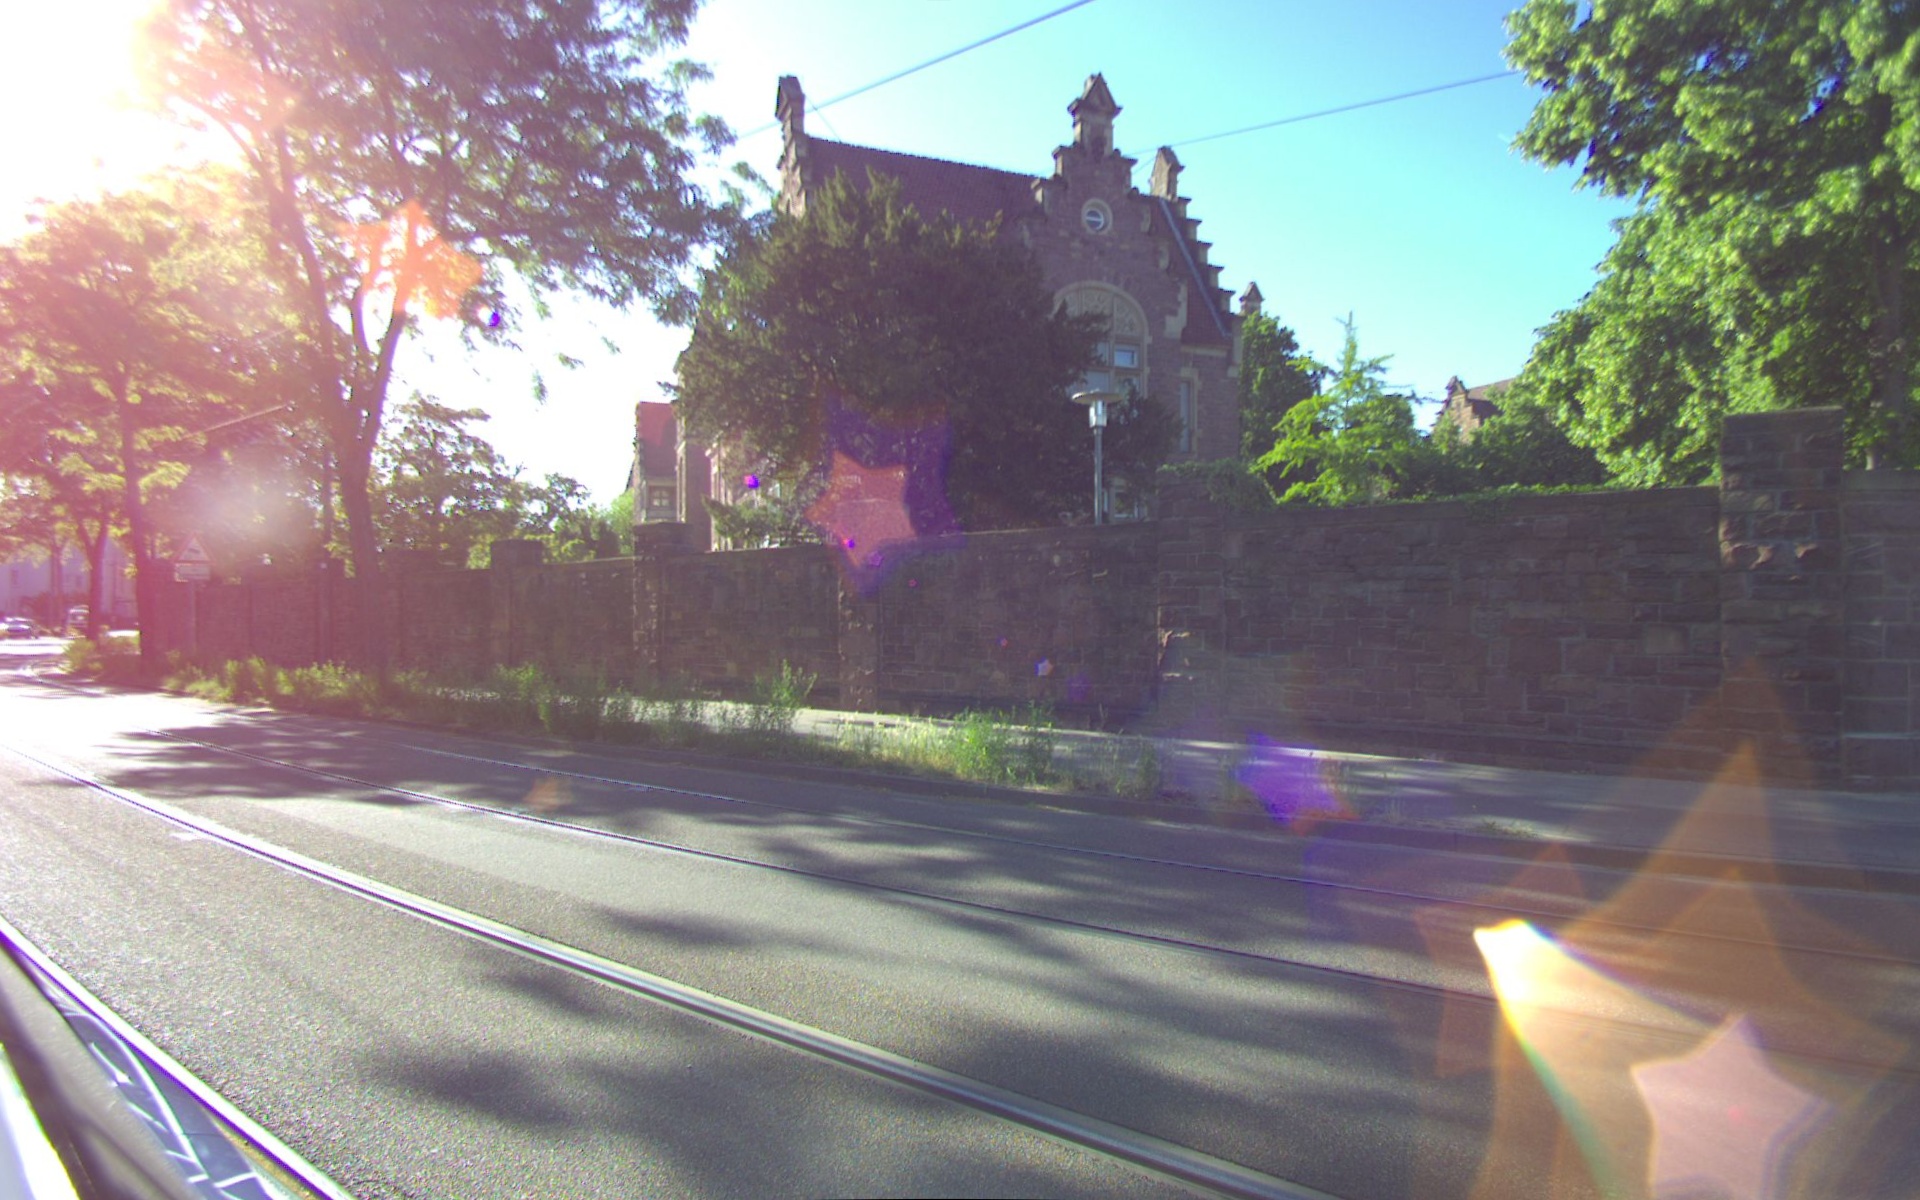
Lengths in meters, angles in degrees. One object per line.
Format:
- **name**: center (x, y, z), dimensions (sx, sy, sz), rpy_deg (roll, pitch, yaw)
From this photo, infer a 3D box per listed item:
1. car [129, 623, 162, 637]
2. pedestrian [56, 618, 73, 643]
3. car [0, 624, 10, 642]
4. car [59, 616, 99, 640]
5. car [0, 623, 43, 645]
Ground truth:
- **car**: center (-93.925, 3.432, 116.720), dimensions (1.713, 1.507, 4.544), rpy_deg (0, -1, -22)
- **pedestrian**: center (-67.524, 2.298, 76.340), dimensions (0.866, 1.879, 1.022), rpy_deg (0, -1, -37)
- **car**: center (-91.429, 3.073, 94.089), dimensions (2.009, 1.501, 4.401), rpy_deg (3, 1, 41)
- **car**: center (-78.811, 2.498, 90.579), dimensions (1.966, 2.111, 4.729), rpy_deg (1, -2, -32)
- **car**: center (-69.313, 2.481, 74.297), dimensions (1.973, 1.476, 5.448), rpy_deg (4, -3, -32)
